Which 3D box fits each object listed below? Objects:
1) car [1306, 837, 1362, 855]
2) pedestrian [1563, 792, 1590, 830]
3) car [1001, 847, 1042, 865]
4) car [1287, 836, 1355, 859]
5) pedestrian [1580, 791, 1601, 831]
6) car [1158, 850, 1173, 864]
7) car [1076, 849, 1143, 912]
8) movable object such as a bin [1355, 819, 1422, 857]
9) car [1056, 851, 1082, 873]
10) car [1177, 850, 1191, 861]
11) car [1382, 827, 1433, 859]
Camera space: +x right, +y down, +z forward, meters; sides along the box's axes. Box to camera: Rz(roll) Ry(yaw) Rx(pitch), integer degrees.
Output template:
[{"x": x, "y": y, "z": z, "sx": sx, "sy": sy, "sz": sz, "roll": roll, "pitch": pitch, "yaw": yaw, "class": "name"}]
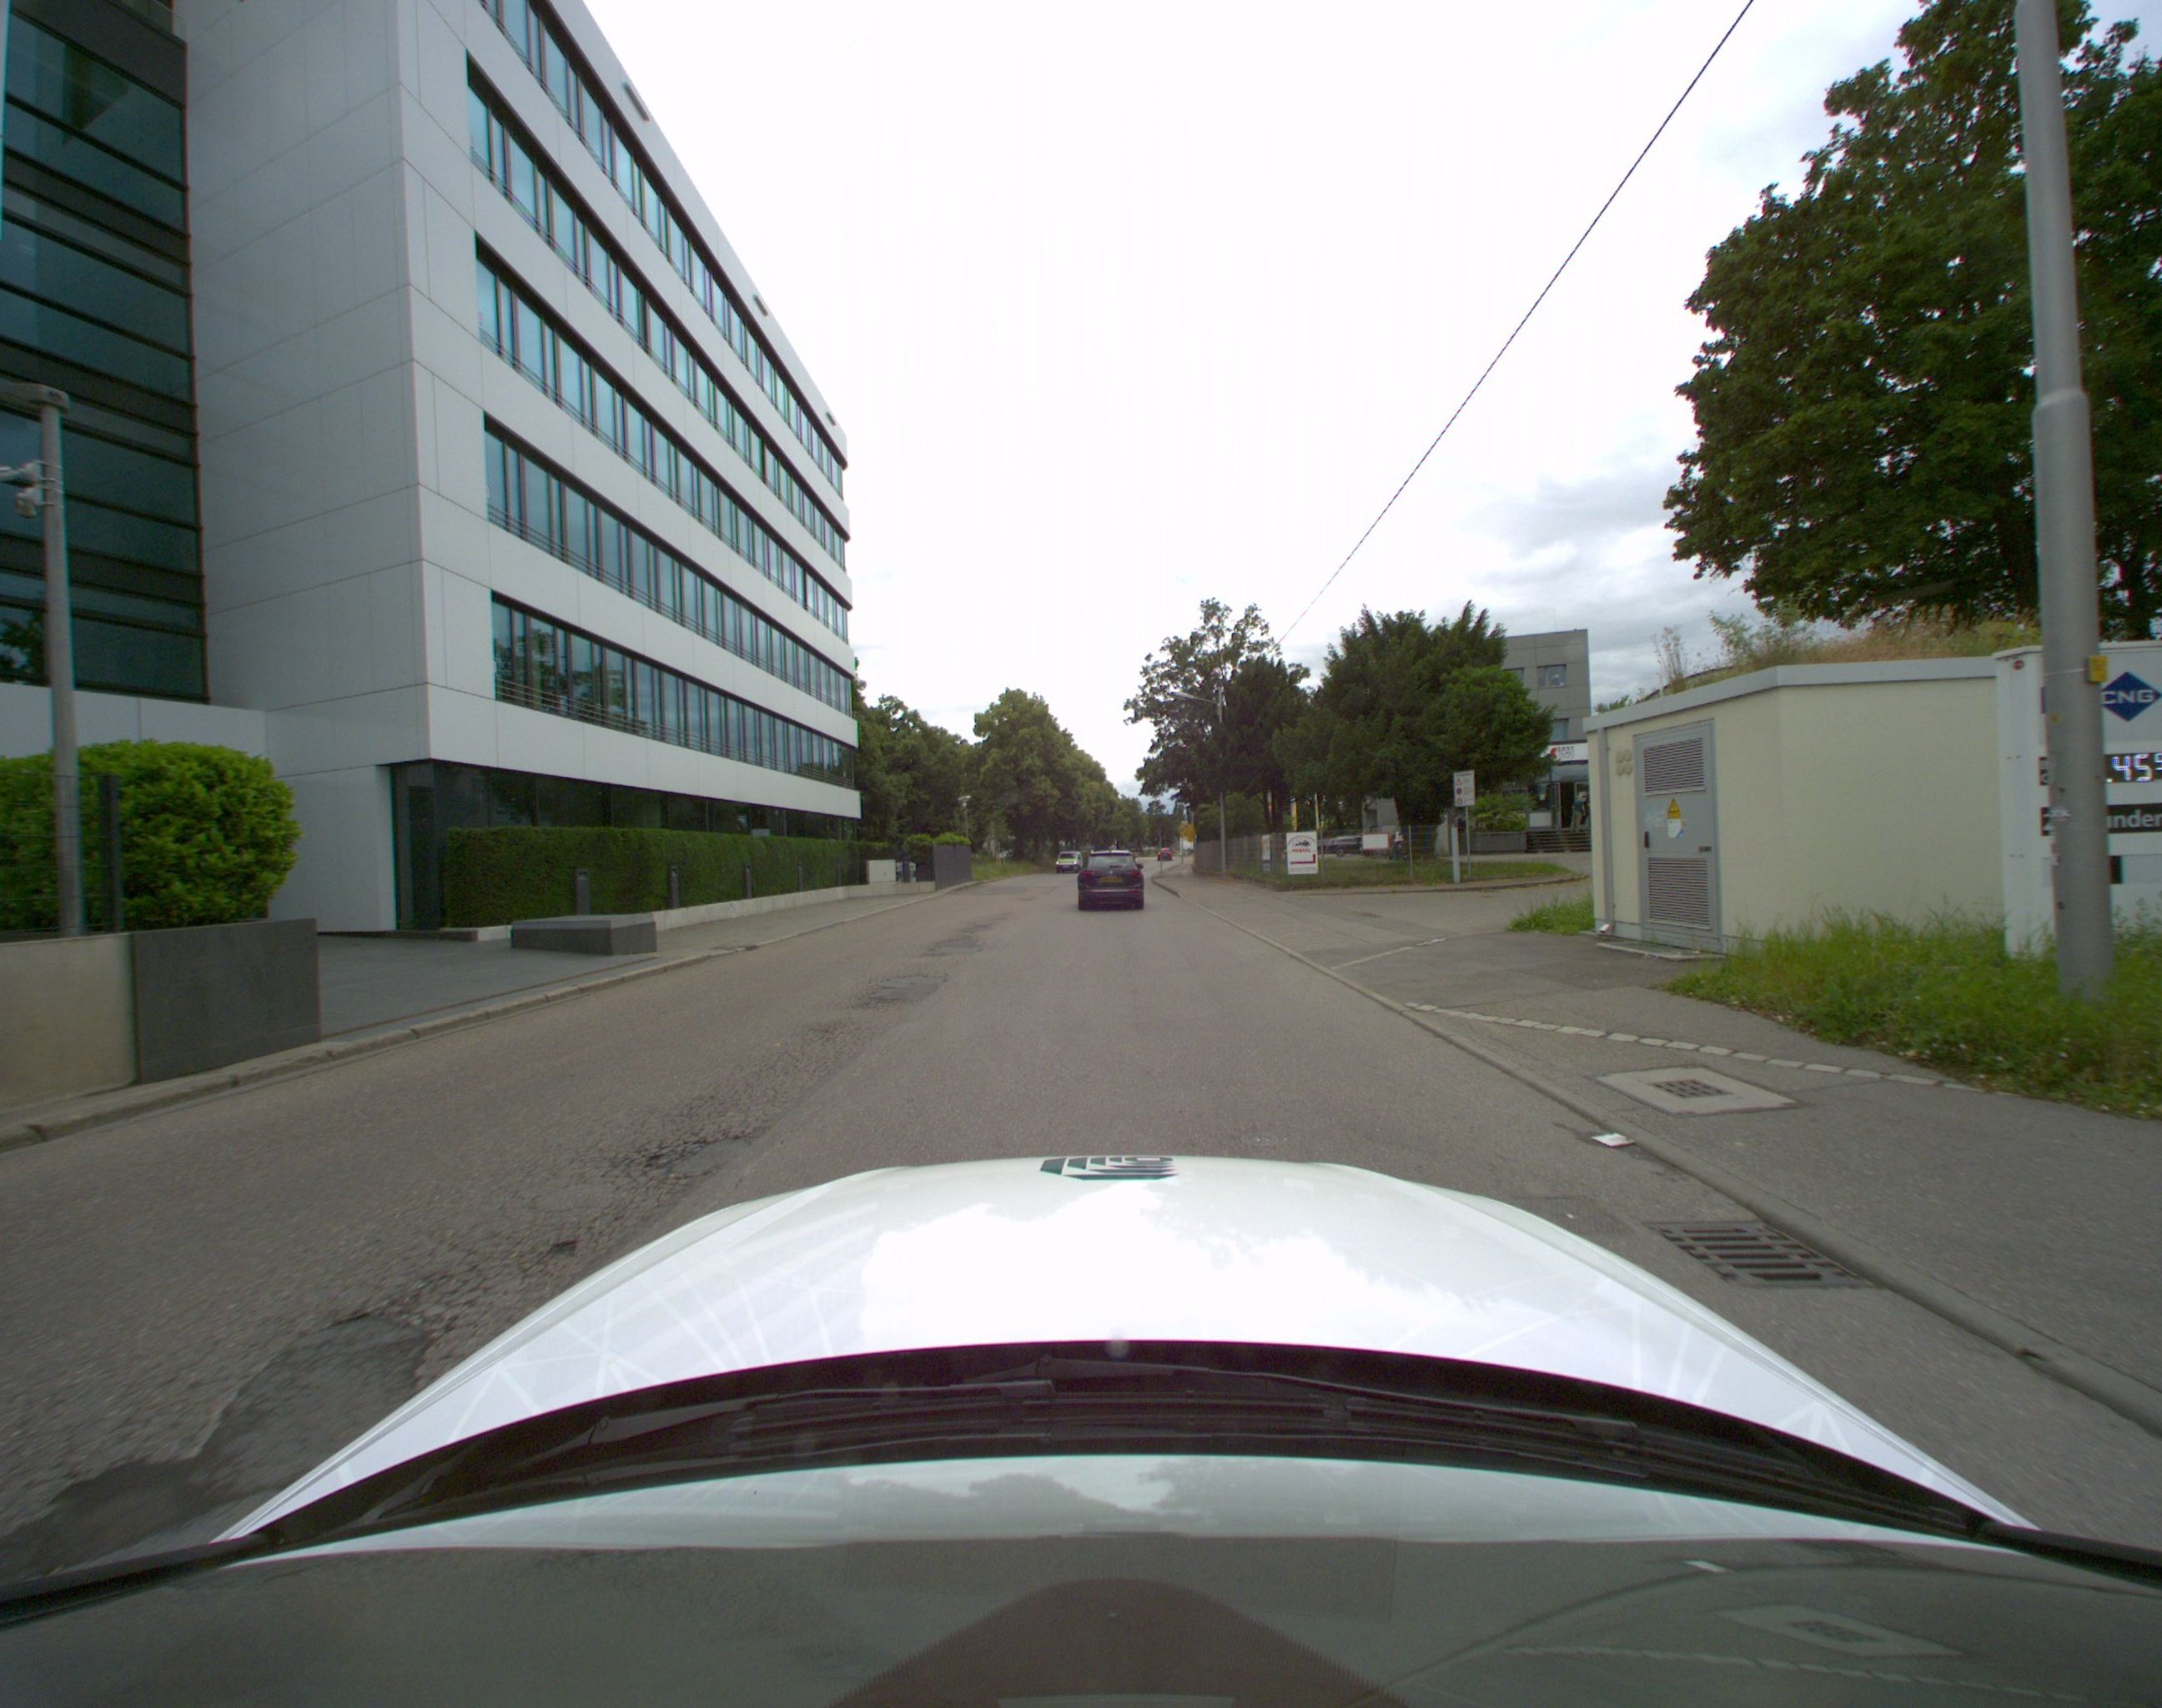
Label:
[{"x": 25.059, "y": -0.765, "z": 80.689, "sx": 4.797, "sy": 1.534, "sz": 2.036, "roll": -2, "pitch": 0, "yaw": 38, "class": "car"}, {"x": 23.856, "y": -2.072, "z": 39.200, "sx": 0.909, "sy": 1.752, "sz": 0.802, "roll": -3, "pitch": 0, "yaw": 41, "class": "pedestrian"}, {"x": -9.302, "y": 0.304, "z": 128.177, "sx": 6.044, "sy": 2.387, "sz": 2.397, "roll": -3, "pitch": 0, "yaw": 3, "class": "car"}, {"x": 18.372, "y": -0.509, "z": 62.562, "sx": 2.010, "sy": 1.474, "sz": 4.638, "roll": -3, "pitch": -1, "yaw": -40, "class": "car"}, {"x": 25.216, "y": -2.118, "z": 40.288, "sx": 0.736, "sy": 1.885, "sz": 0.699, "roll": -3, "pitch": 0, "yaw": 36, "class": "pedestrian"}, {"x": 10.386, "y": 0.339, "z": 100.156, "sx": 1.651, "sy": 1.574, "sz": 3.833, "roll": -3, "pitch": 0, "yaw": 4, "class": "car"}, {"x": 0.868, "y": 0.705, "z": 23.238, "sx": 1.731, "sy": 1.618, "sz": 3.644, "roll": -1, "pitch": -1, "yaw": 3, "class": "car"}, {"x": 20.894, "y": -1.061, "z": 55.517, "sx": 3.959, "sy": 2.305, "sz": 1.960, "roll": -3, "pitch": 0, "yaw": 13, "class": "movable object such as a bin"}, {"x": -0.967, "y": 0.643, "z": 67.106, "sx": 1.800, "sy": 1.764, "sz": 4.210, "roll": -1, "pitch": 0, "yaw": 4, "class": "car"}, {"x": 18.060, "y": 0.233, "z": 142.871, "sx": 1.980, "sy": 1.786, "sz": 4.013, "roll": -1, "pitch": 0, "yaw": 12, "class": "car"}, {"x": 18.215, "y": -0.636, "z": 45.635, "sx": 1.979, "sy": 1.566, "sz": 4.459, "roll": -5, "pitch": 0, "yaw": 14, "class": "car"}]
